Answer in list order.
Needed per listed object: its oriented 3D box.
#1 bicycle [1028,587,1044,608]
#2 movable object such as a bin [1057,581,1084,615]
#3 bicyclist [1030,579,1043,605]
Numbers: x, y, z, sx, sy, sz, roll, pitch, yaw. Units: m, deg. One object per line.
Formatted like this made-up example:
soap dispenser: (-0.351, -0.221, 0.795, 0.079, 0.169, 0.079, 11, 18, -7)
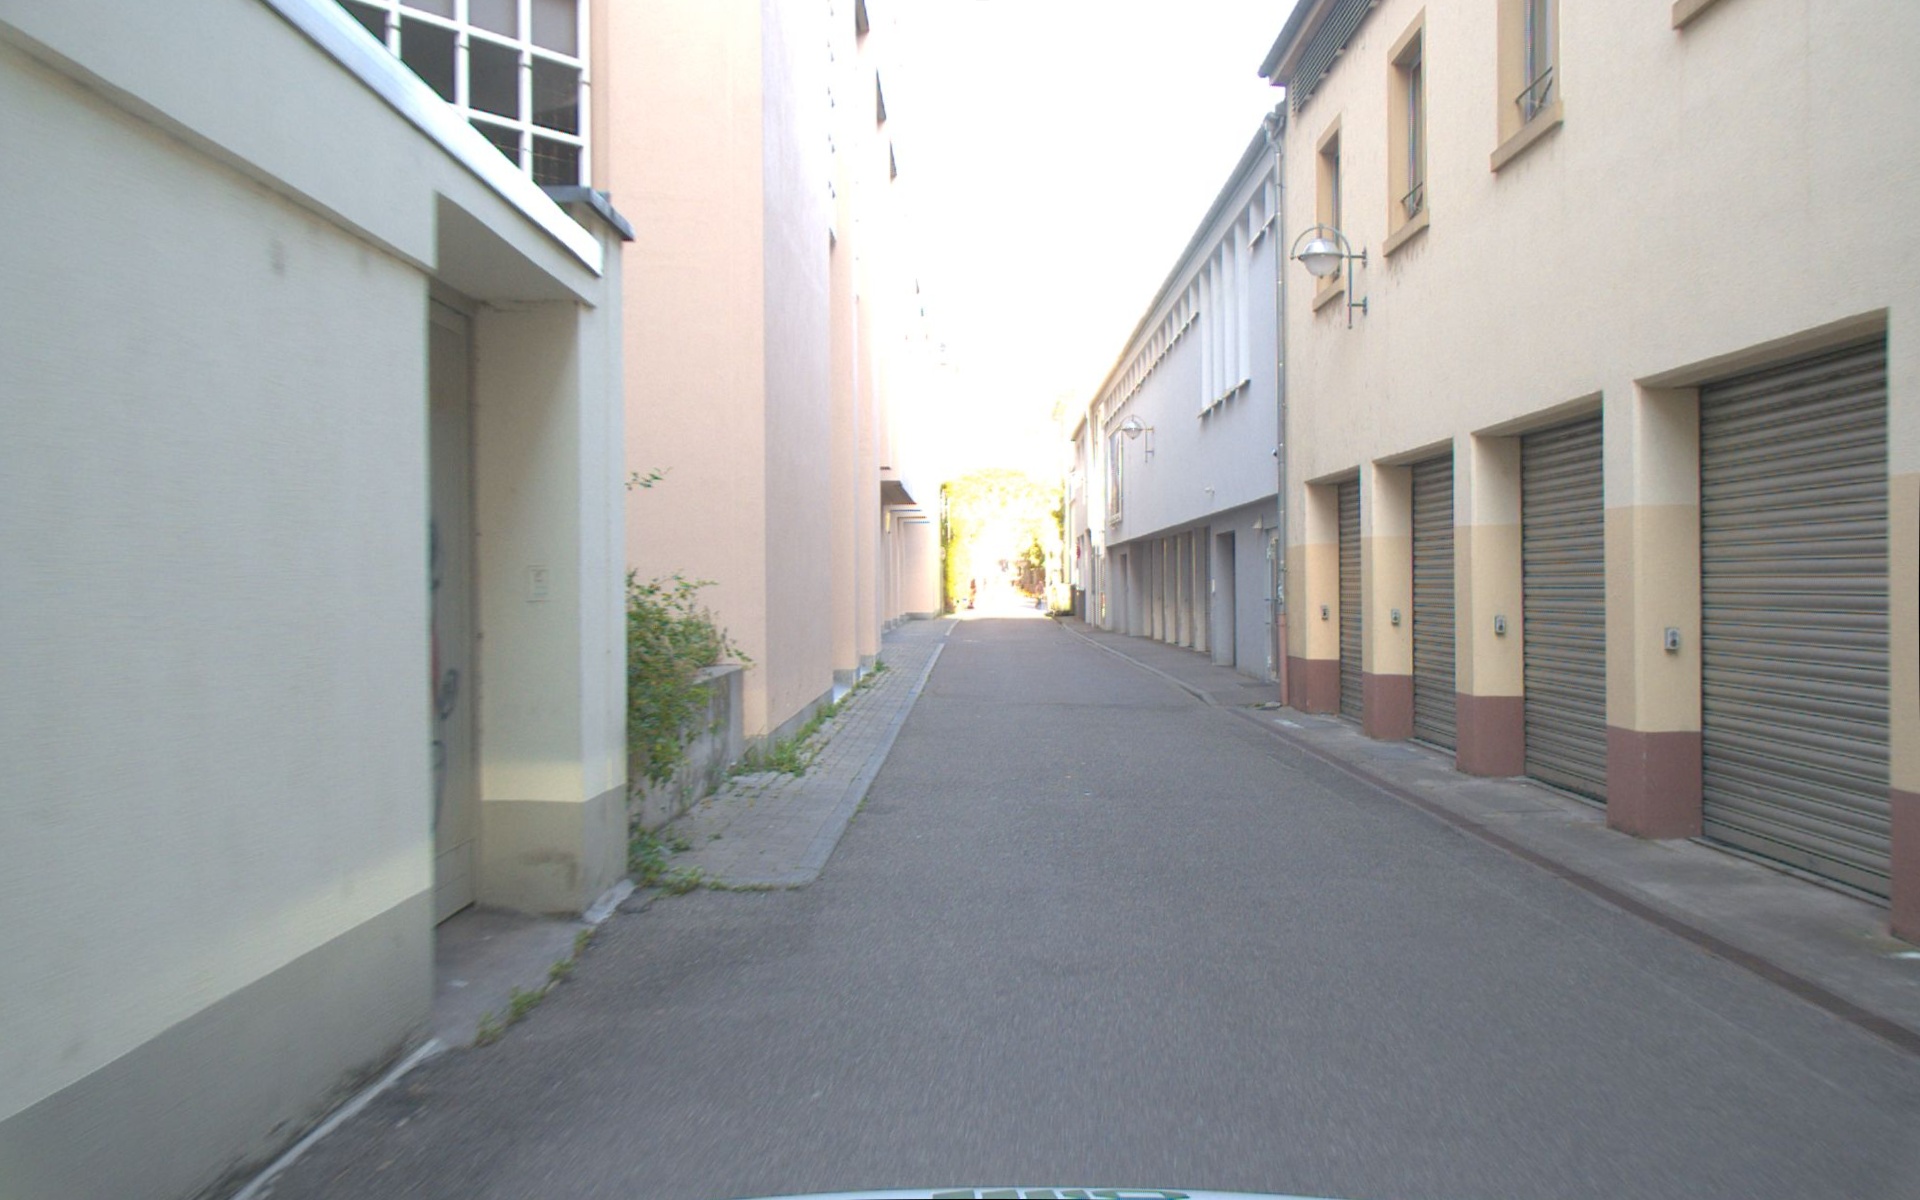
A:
bicycle: (4.738, -0.158, 103.160, 0.758, 1.283, 2.216, 1, 1, -2)
movable object such as a bin: (4.753, -0.078, 71.049, 0.919, 1.390, 1.341, -2, 0, -5)
bicyclist: (4.779, -0.481, 103.206, 0.758, 1.593, 0.693, 1, 0, -2)
